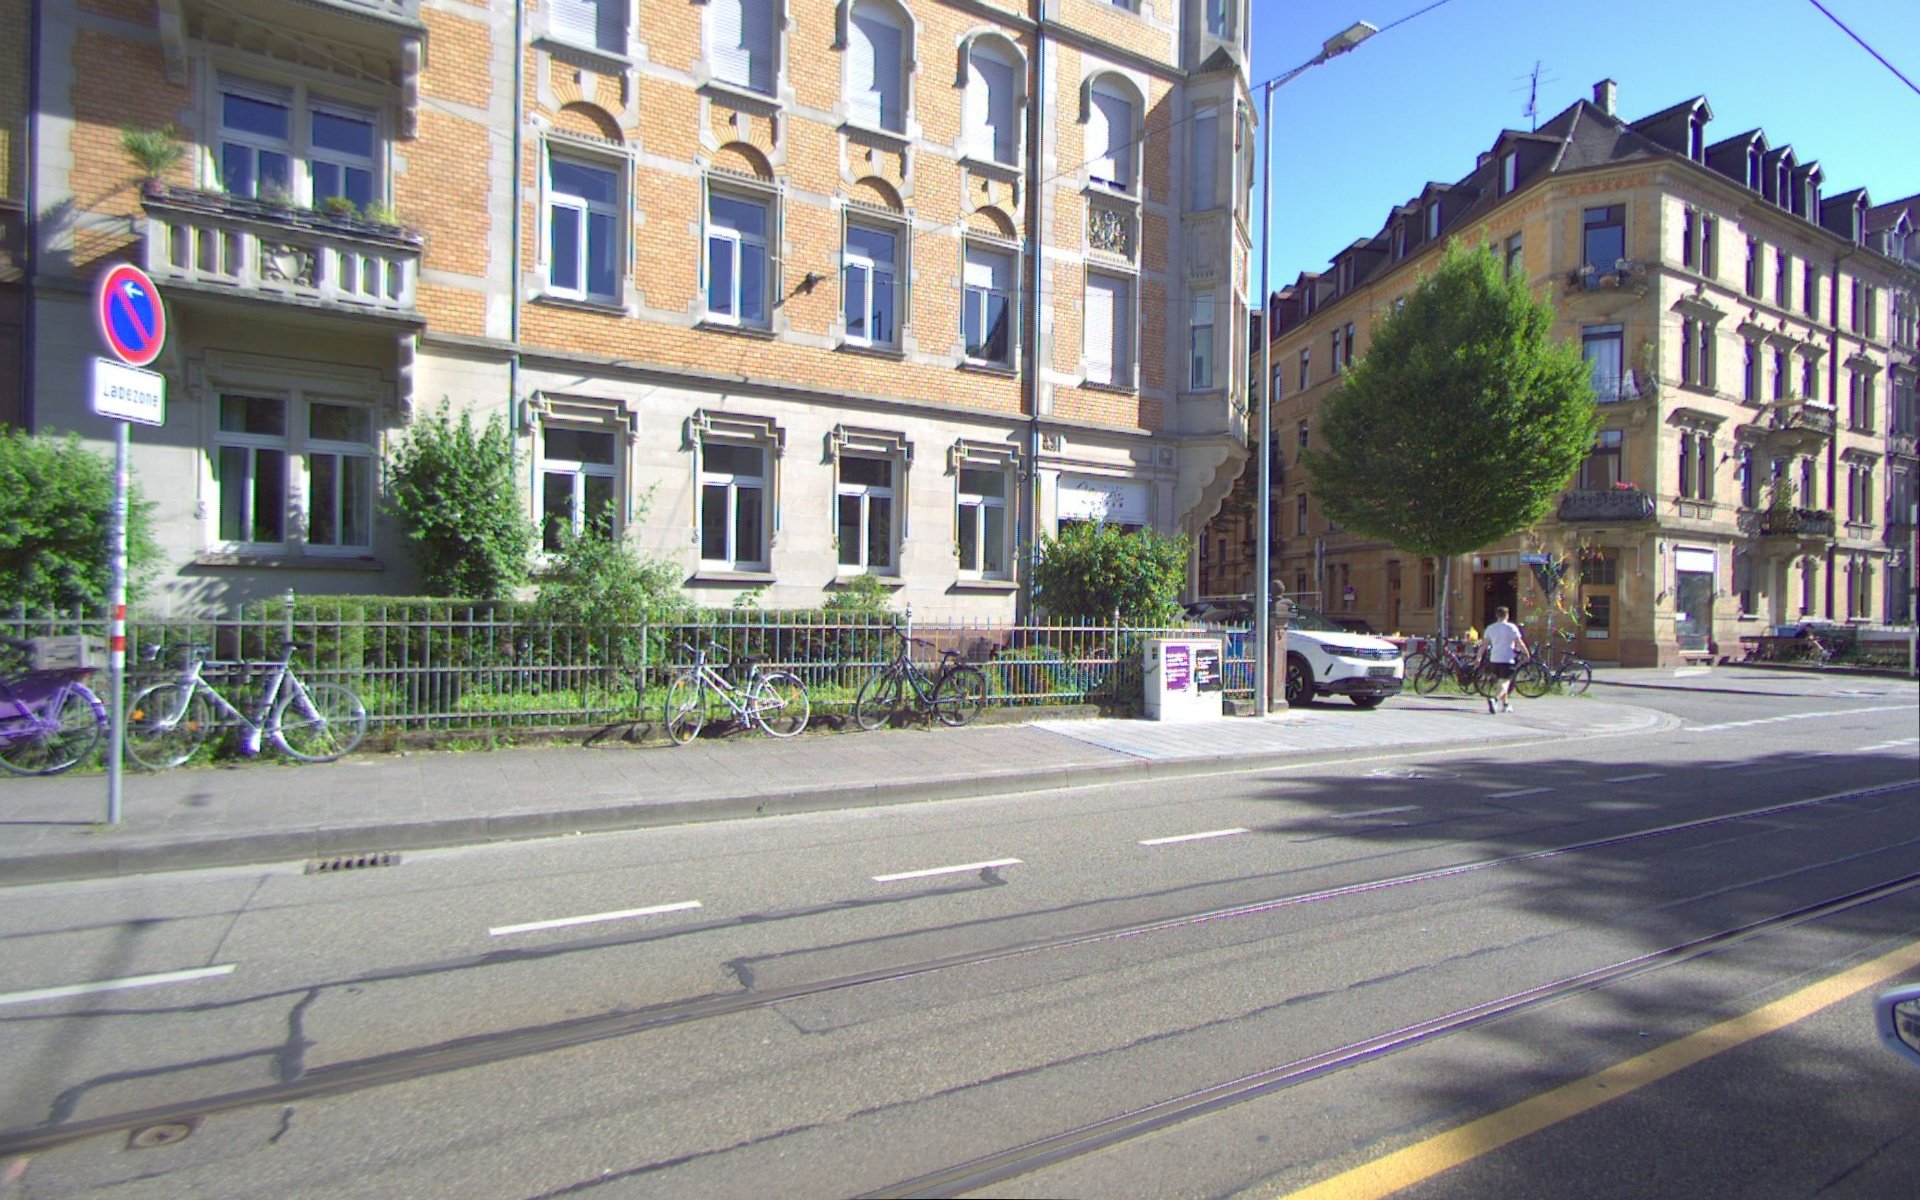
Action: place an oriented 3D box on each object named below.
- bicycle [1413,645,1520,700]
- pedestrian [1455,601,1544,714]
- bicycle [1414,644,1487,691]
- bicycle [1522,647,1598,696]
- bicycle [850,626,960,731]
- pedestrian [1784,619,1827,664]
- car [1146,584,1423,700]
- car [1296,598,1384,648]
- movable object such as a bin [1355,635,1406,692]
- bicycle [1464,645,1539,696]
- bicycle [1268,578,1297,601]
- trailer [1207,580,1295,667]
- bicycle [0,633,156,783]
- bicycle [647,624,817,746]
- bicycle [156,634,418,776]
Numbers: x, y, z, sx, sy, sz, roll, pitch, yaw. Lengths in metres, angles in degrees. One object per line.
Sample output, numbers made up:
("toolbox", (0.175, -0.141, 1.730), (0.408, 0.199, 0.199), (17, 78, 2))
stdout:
("bicycle", (9.649, 1.369, 19.203), (1.755, 0.926, 0.620), (2, -1, 25))
("pedestrian", (8.803, 0.913, 16.382), (1.072, 1.746, 0.824), (2, 1, -35))
("bicycle", (10.653, 1.461, 21.850), (1.268, 0.926, 0.621), (2, -1, 8))
("bicycle", (12.543, 1.476, 21.027), (1.270, 0.926, 0.620), (2, -1, 25))
("bicycle", (-0.609, 0.878, 11.820), (0.554, 1.047, 1.766), (2, 2, 23))
("pedestrian", (26.675, 1.308, 31.700), (0.570, 1.370, 0.897), (1, -2, -28))
("car", (5.348, 0.613, 17.227), (1.941, 1.665, 4.429), (2, 1, -27))
("car", (14.975, 0.853, 39.786), (1.805, 1.773, 3.586), (-2, 1, -7))
("movable object such as a bin", (8.314, 1.249, 19.879), (0.704, 1.085, 0.576), (1, 1, -16))
("bicycle", (10.869, 1.396, 20.195), (1.270, 0.926, 0.620), (2, -1, 25))
("bicycle", (16.478, -0.541, 51.393), (0.545, 1.141, 2.130), (1, 0, -8))
("trailer", (9.623, 0.797, 33.368), (1.793, 2.730, 2.927), (2, -2, -6))
("bicycle", (-7.118, 0.785, 7.430), (1.747, 1.047, 0.560), (1, 2, -31))
("bicycle", (-2.305, 0.826, 10.343), (0.555, 1.047, 1.761), (6, 4, 35))
("bicycle", (-5.508, 0.821, 8.343), (1.747, 1.047, 0.560), (1, 2, -31))
